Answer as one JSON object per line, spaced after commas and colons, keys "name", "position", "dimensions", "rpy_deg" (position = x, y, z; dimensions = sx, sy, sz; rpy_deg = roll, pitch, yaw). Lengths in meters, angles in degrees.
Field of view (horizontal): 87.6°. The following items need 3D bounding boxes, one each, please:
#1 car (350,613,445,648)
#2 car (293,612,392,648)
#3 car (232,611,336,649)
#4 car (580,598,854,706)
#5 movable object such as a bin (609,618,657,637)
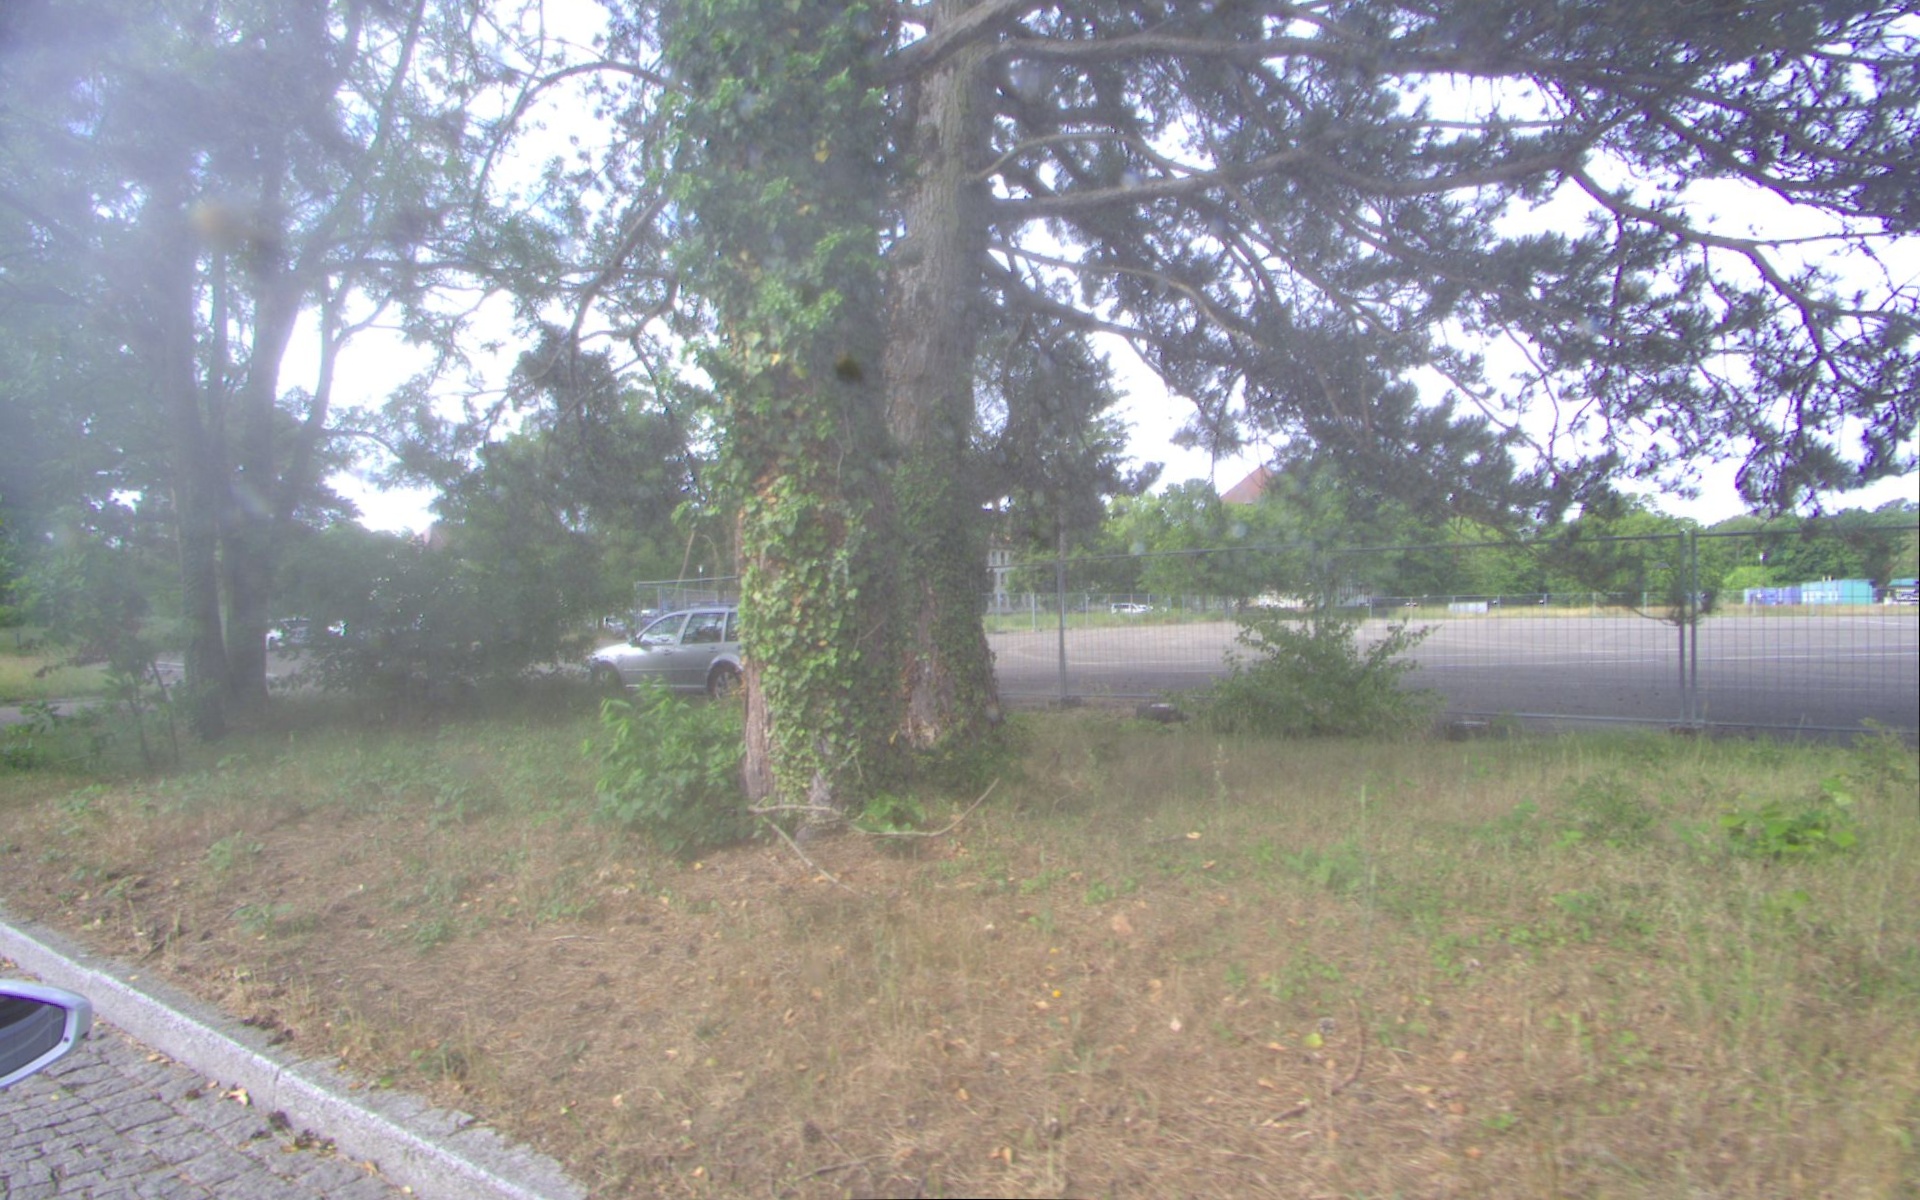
{"name": "car", "position": [-27.178, 1.465, 48.388], "dimensions": [4.359, 1.500, 1.991], "rpy_deg": [-3, -1, 29]}
{"name": "car", "position": [-28.349, 1.392, 45.973], "dimensions": [4.359, 1.500, 1.991], "rpy_deg": [-3, -1, 29]}
{"name": "car", "position": [-29.534, 1.325, 43.746], "dimensions": [4.359, 1.500, 1.991], "rpy_deg": [-3, -1, 29]}
{"name": "car", "position": [-3.701, 0.764, 15.069], "dimensions": [4.014, 1.444, 1.644], "rpy_deg": [-1, -3, 31]}
{"name": "movable object such as a bin", "position": [-14.589, 1.226, 44.667], "dimensions": [1.929, 0.836, 1.181], "rpy_deg": [-1, 0, 37]}
